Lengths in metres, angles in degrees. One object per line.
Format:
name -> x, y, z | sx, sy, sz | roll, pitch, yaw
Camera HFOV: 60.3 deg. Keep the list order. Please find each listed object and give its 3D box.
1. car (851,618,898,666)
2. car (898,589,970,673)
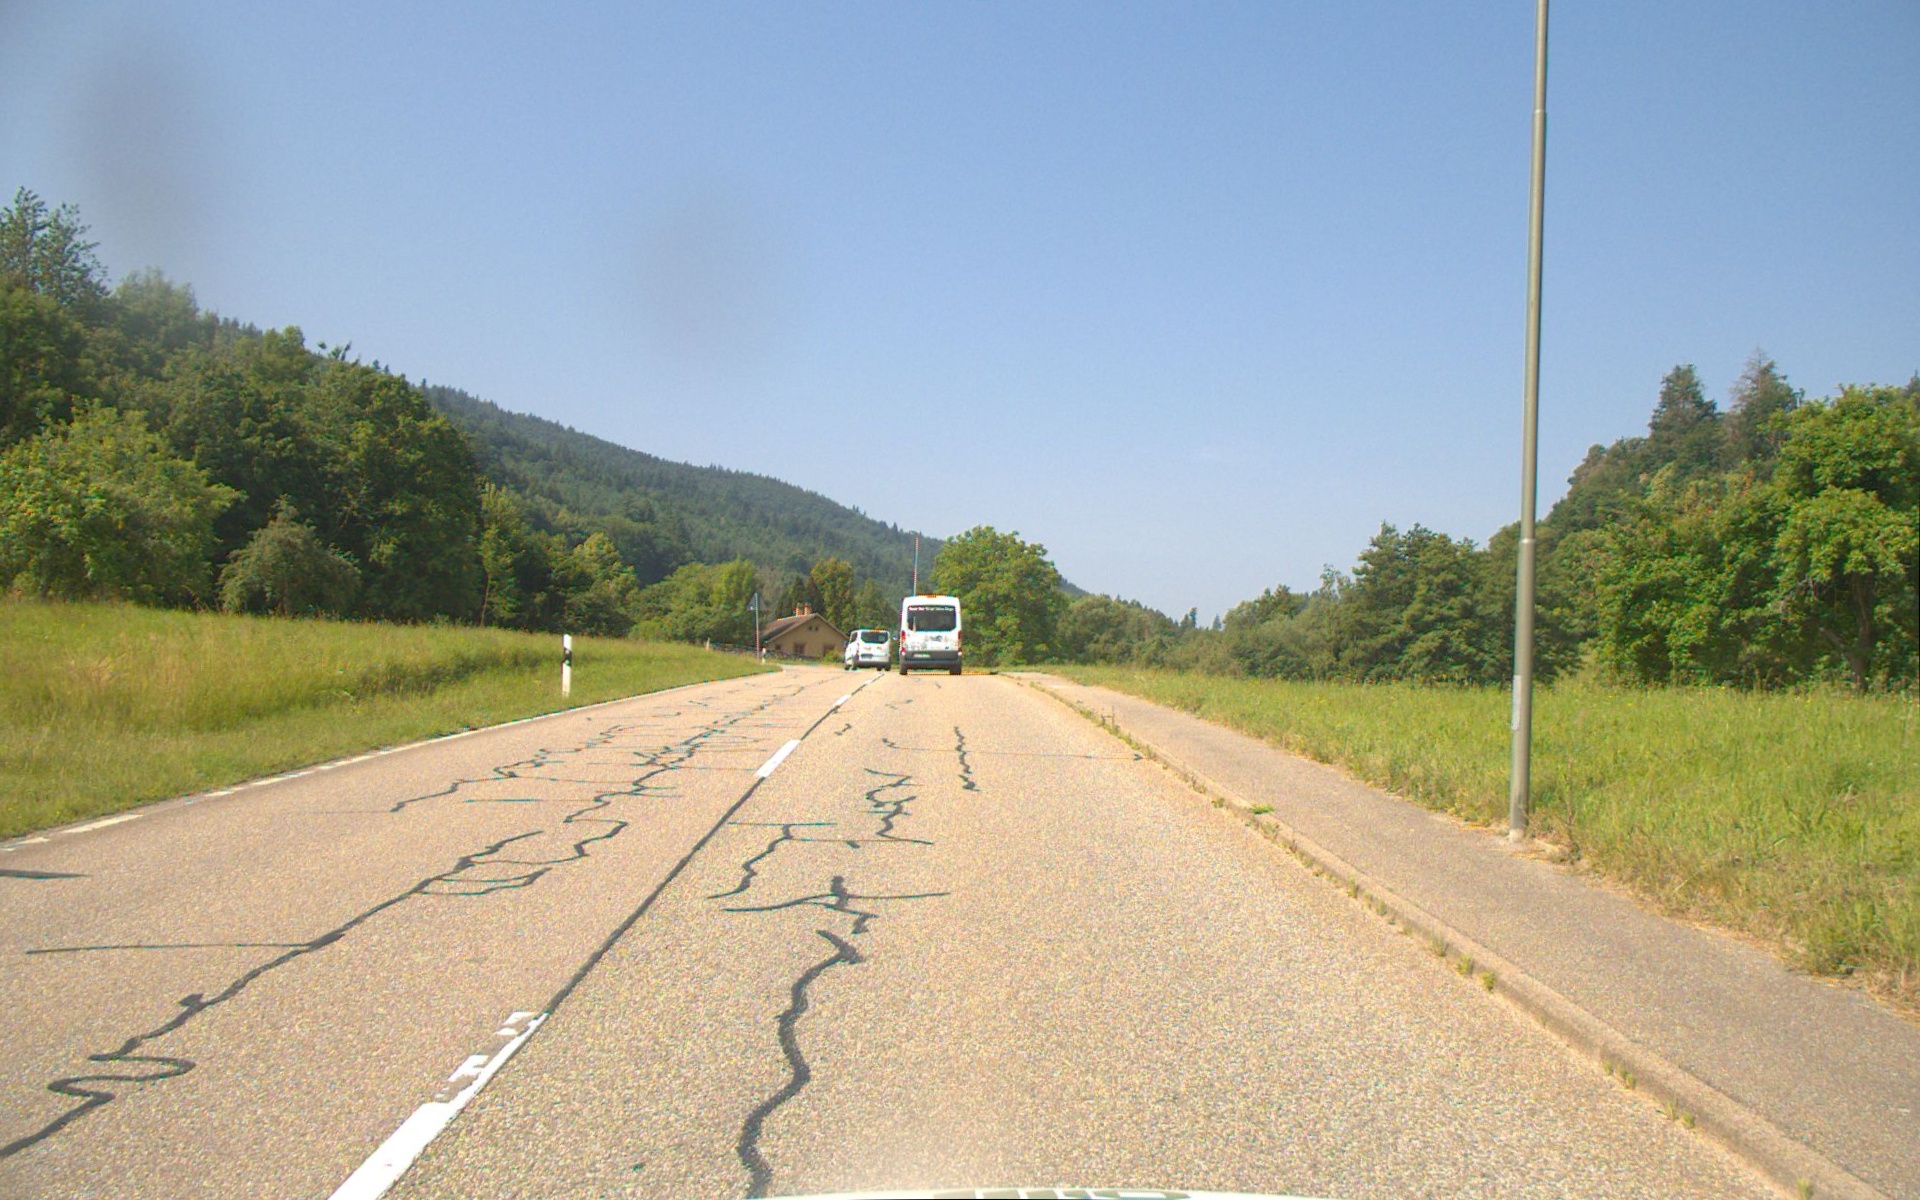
car -> -4.404, 2.160, 84.363 | 2.179, 2.327, 4.978 | -2, -2, -5
car -> -0.878, 1.062, 54.272 | 2.178, 2.570, 4.982 | -2, -2, -1
